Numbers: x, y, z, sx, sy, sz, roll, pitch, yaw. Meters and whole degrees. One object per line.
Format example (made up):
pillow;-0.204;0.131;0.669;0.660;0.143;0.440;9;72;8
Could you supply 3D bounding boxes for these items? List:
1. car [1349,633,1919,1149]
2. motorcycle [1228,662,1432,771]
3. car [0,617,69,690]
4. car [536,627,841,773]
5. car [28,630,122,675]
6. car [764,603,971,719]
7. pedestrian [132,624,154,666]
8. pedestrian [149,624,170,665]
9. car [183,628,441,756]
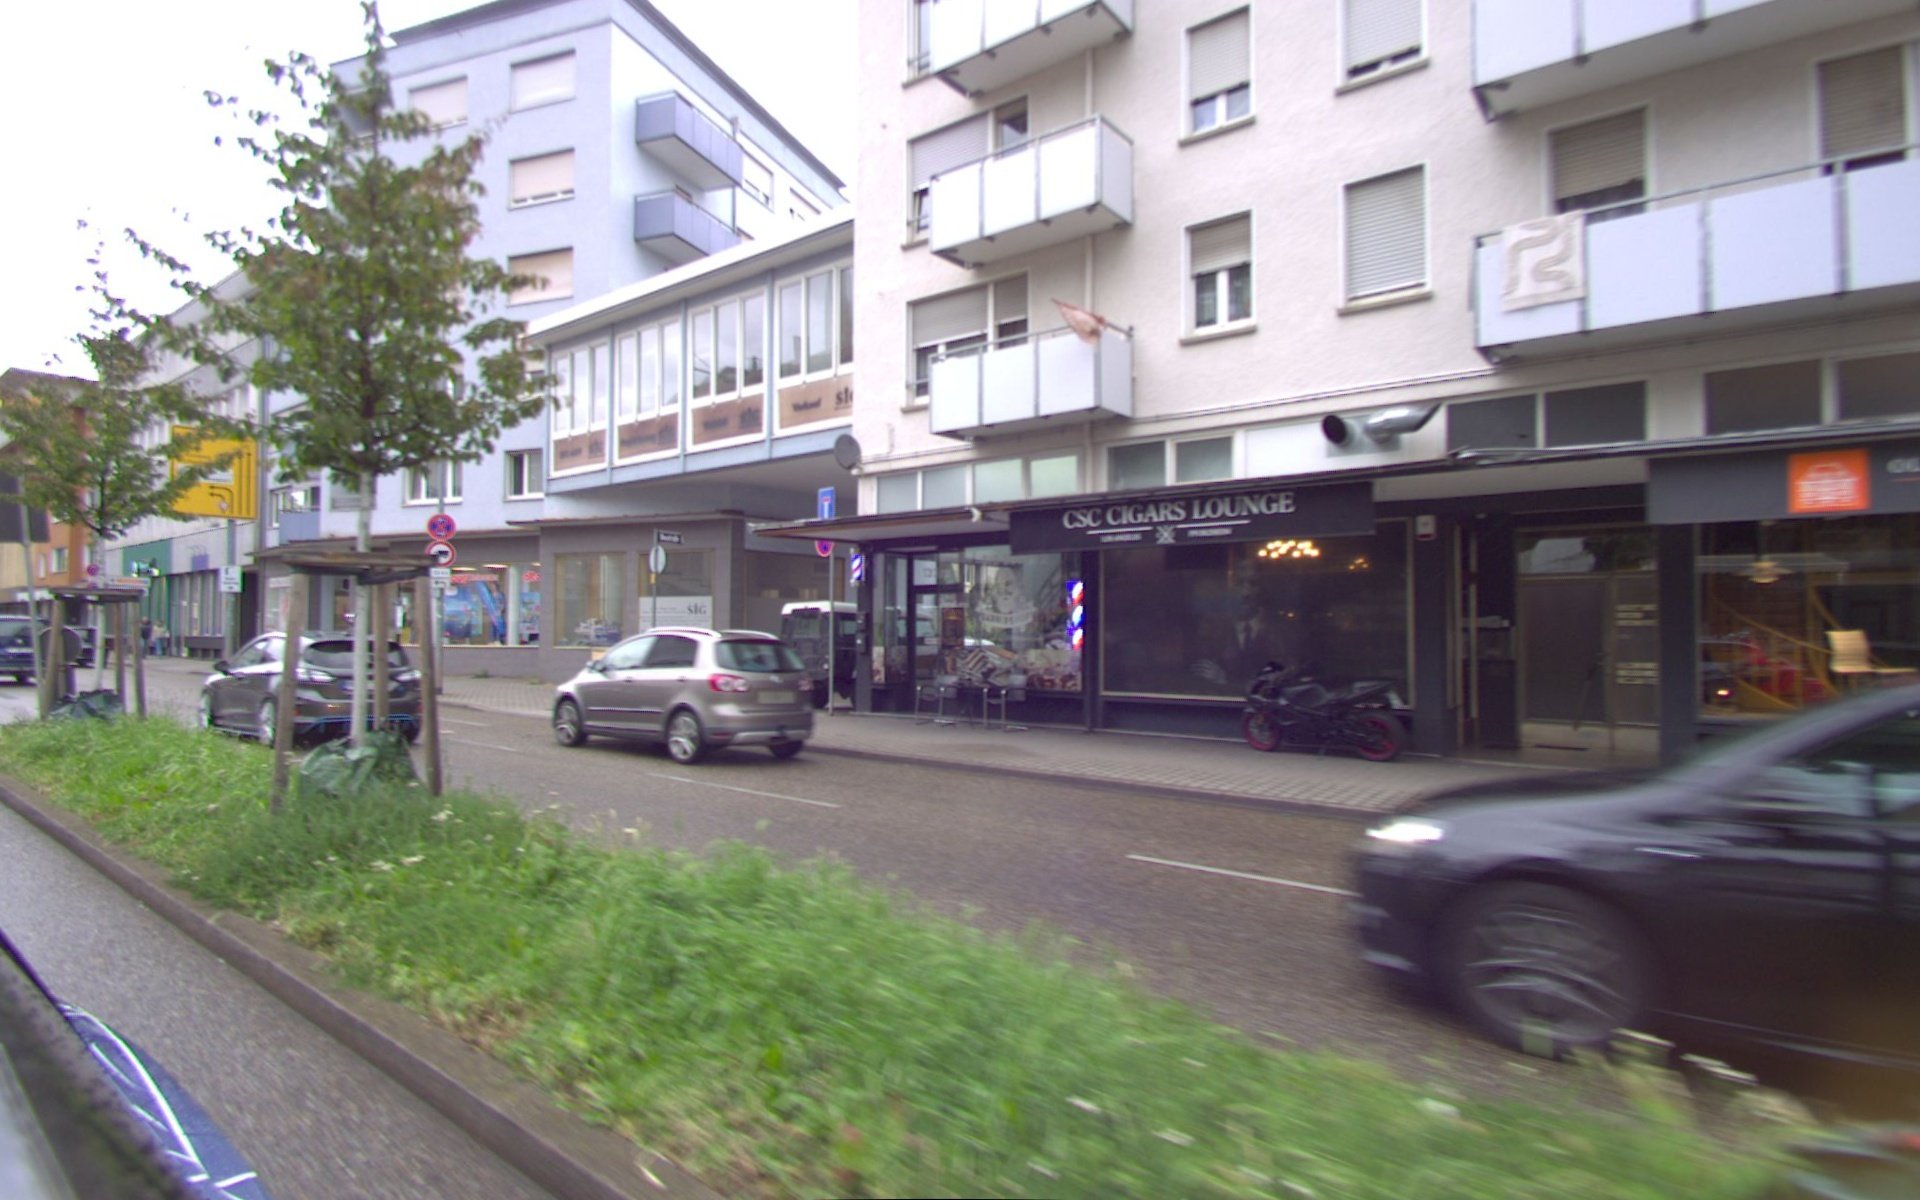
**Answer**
car;3.665;0.869;3.287;4.152;1.452;1.799;-2;-5;39
motorcycle;4.371;1.337;12.083;2.193;1.096;0.662;0;0;38
car;-23.075;1.269;24.216;3.832;1.656;1.756;-2;-5;36
car;-3.599;1.208;13.137;4.021;1.601;1.755;-2;-5;39
car;-32.471;1.910;37.105;4.198;1.493;1.829;0;-4;39
car;-1.750;1.180;20.223;1.893;2.070;3.946;-1;-3;40
pedestrian;-34.337;1.892;42.551;0.531;1.701;0.520;1;-3;39
pedestrian;-33.993;1.884;42.966;0.531;1.701;0.506;1;-3;39
car;-8.648;1.147;13.401;3.835;1.452;1.681;-2;-5;39
